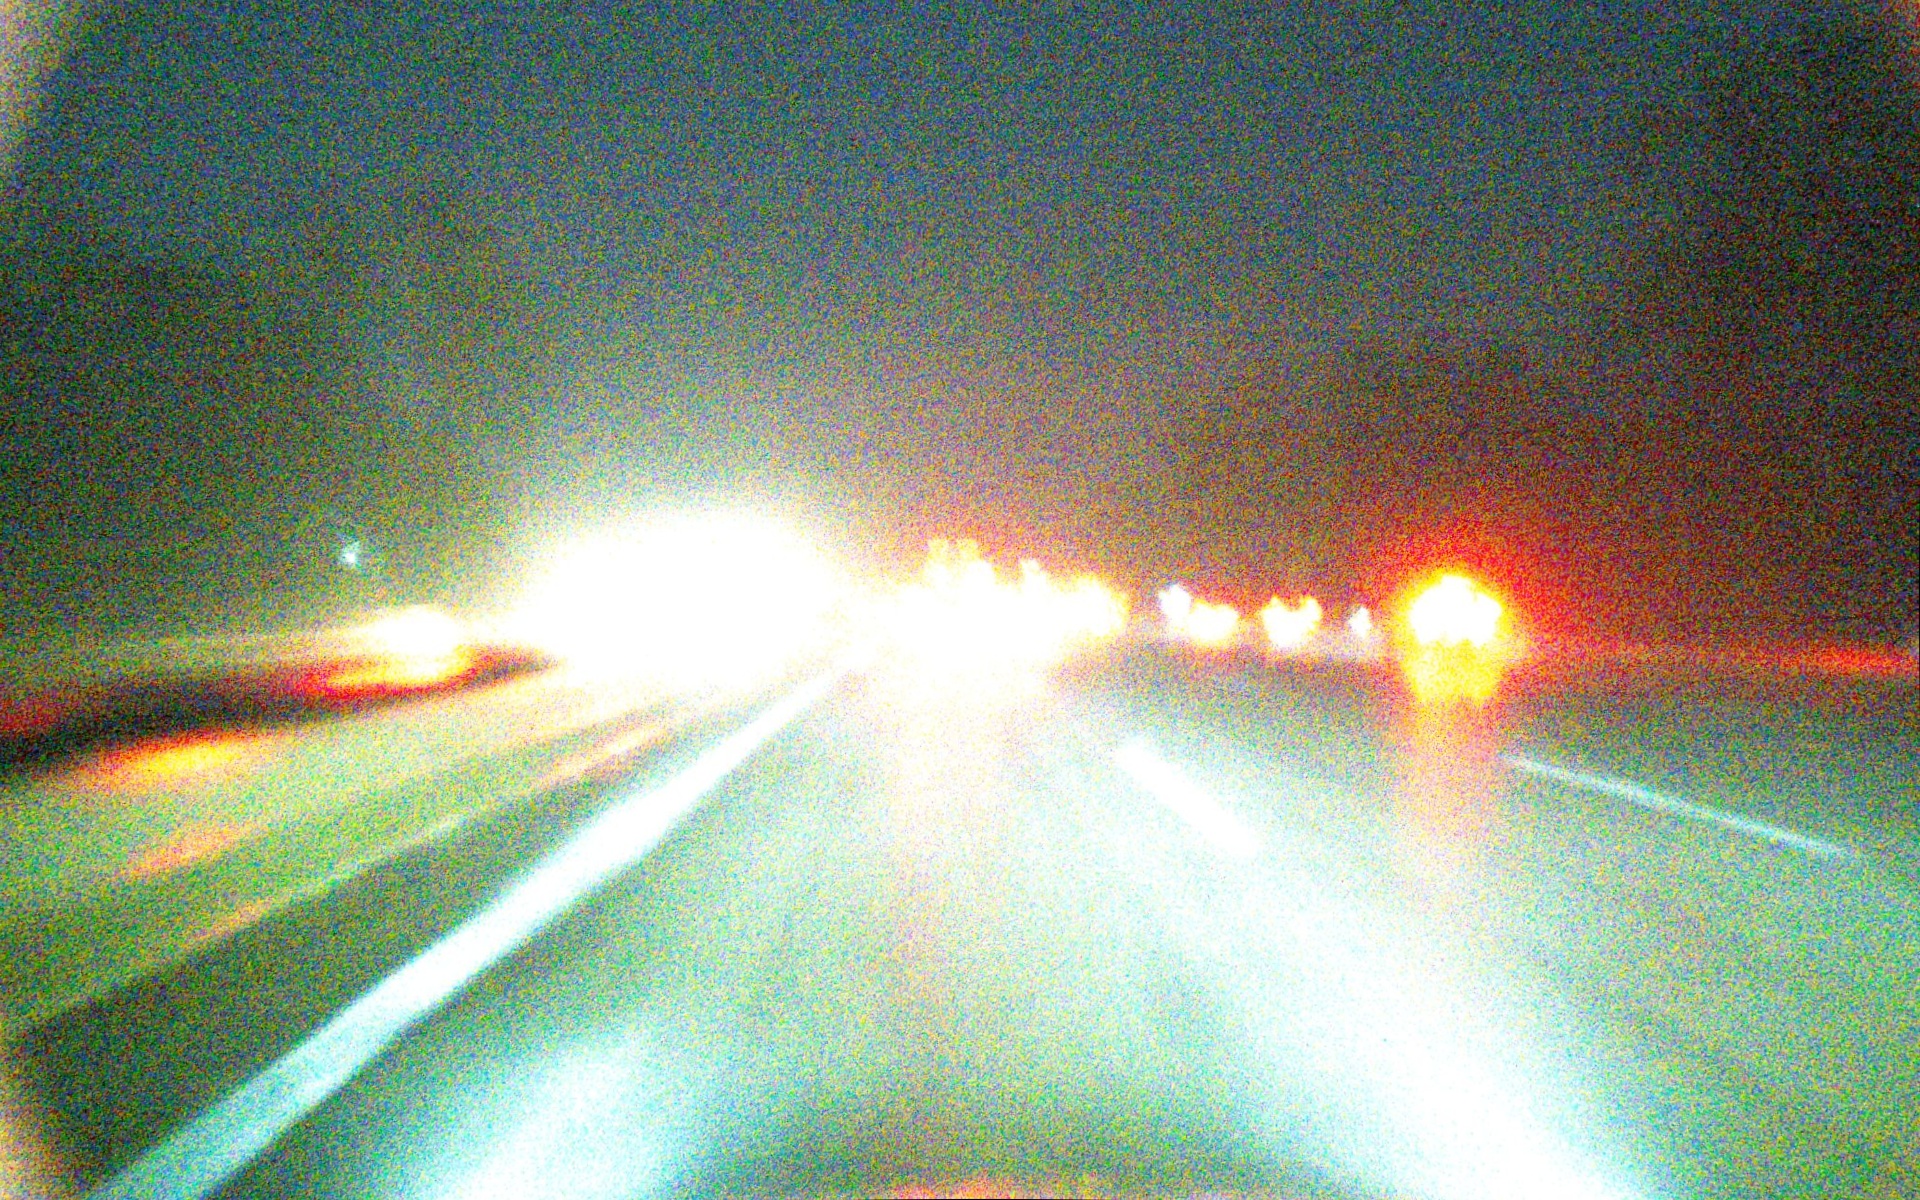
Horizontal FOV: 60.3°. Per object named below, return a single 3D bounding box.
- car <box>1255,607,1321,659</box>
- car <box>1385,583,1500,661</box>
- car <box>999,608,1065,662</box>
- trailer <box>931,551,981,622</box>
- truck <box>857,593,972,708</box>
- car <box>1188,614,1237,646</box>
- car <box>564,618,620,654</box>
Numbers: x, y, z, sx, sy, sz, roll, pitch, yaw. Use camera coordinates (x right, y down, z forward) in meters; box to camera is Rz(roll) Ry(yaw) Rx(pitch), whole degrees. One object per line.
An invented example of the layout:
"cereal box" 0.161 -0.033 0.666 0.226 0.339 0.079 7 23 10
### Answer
"car" 13.764 1.354 69.674 2.185 2.049 4.002 1 0 4
"car" 13.755 0.581 47.452 2.019 2.049 5.451 1 0 4
"car" 2.304 1.097 53.870 1.764 1.646 4.255 -1 0 -2
"trailer" -0.429 -1.227 132.813 2.686 4.318 13.368 3 6 -5
"truck" -0.895 0.996 35.104 2.101 2.114 6.602 3 0 0
"car" 14.092 1.675 92.397 1.953 1.628 3.998 3 0 -2
"car" -19.097 1.851 86.014 1.953 1.750 4.287 3 0 -1
